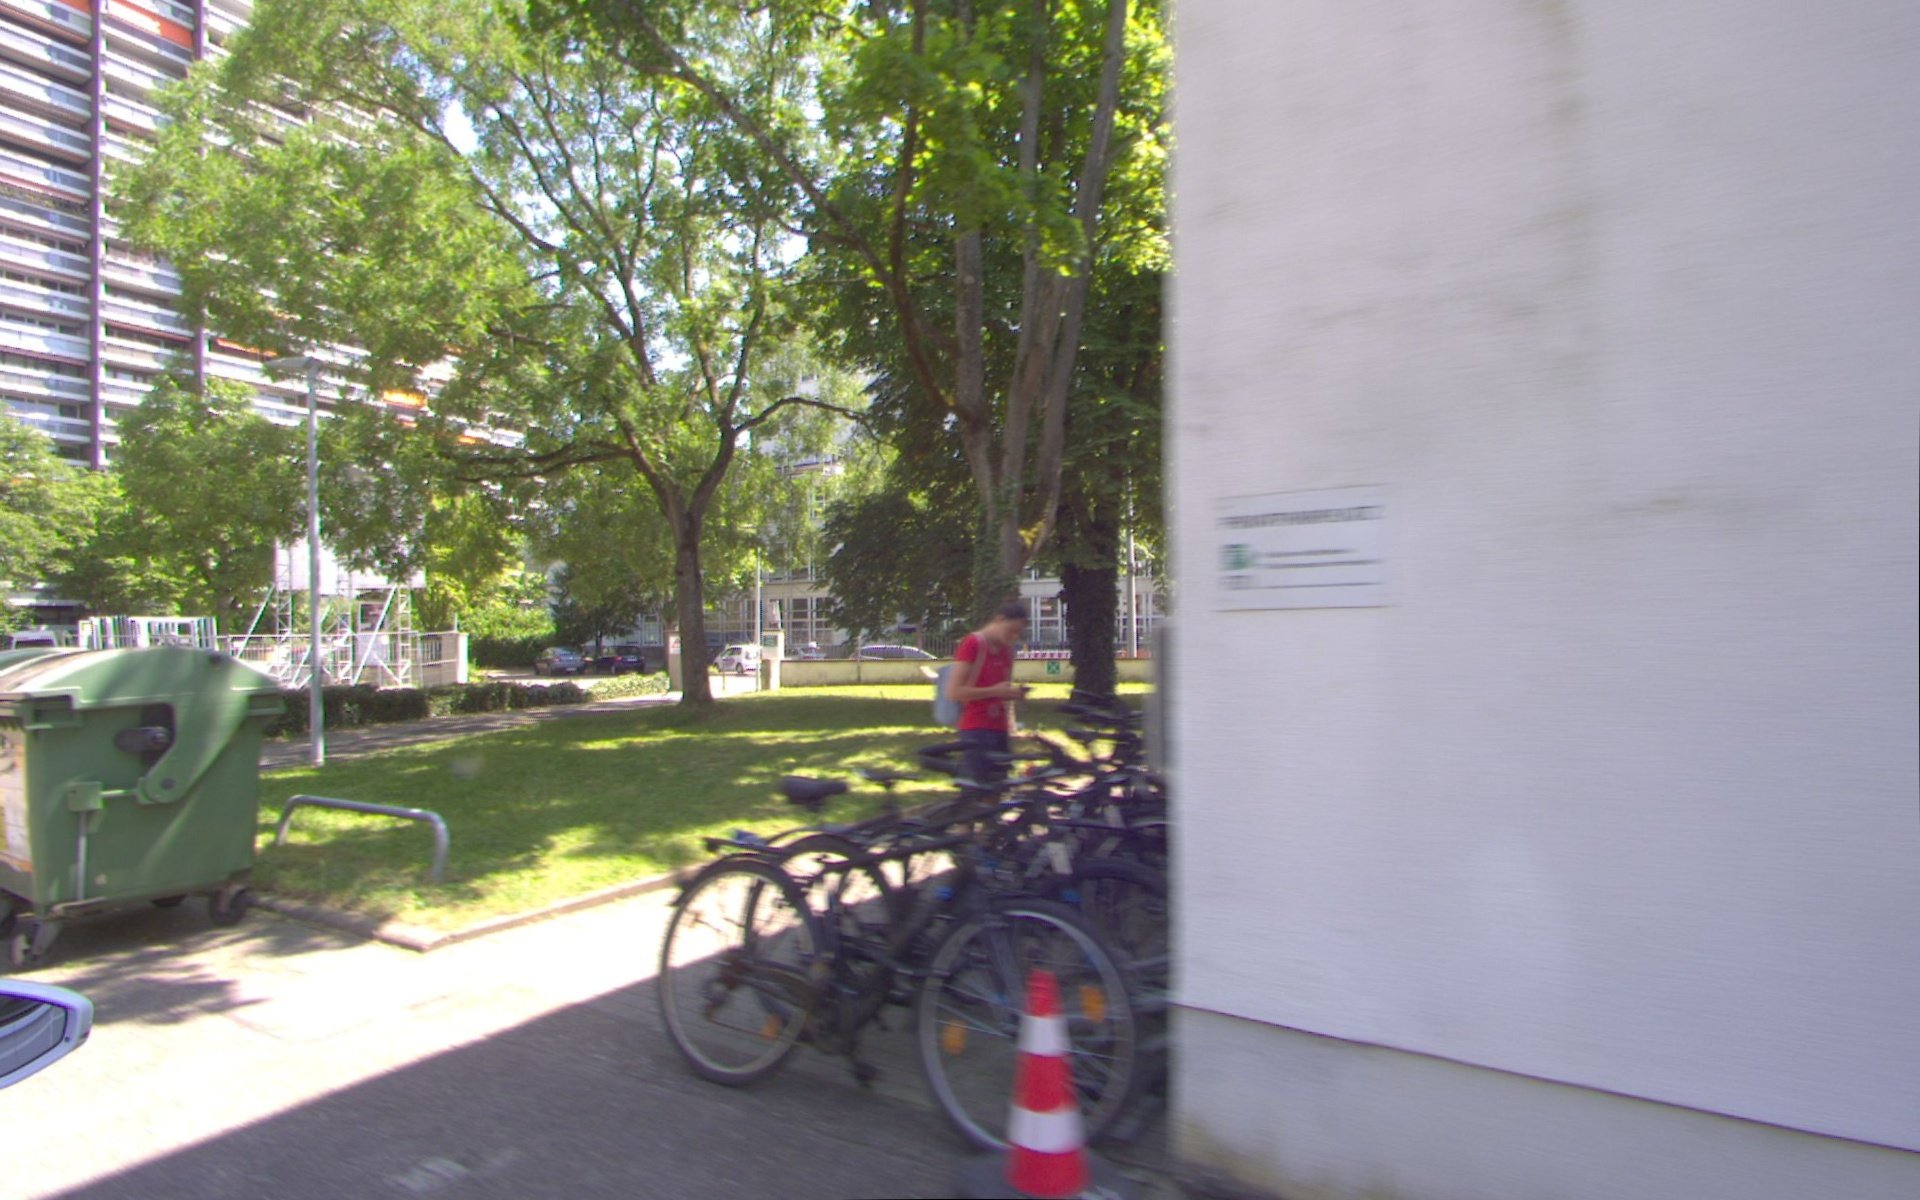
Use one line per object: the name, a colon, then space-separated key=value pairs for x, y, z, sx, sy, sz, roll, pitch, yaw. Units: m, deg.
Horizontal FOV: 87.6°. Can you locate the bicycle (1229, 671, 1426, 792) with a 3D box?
bicycle: x=3.665 y=1.284 z=10.075 sx=1.801 sy=1.115 sz=0.404 roll=-2 pitch=-2 yaw=33

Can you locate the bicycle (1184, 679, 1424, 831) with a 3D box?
bicycle: x=2.782 y=1.221 z=8.215 sx=1.801 sy=1.115 sz=0.404 roll=-2 pitch=-2 yaw=33

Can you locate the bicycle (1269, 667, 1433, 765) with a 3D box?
bicycle: x=4.721 y=1.378 z=12.165 sx=1.801 sy=1.115 sz=0.404 roll=-2 pitch=-2 yaw=33

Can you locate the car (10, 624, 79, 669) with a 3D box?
car: x=-49.365 y=2.519 z=54.073 sx=2.164 sy=2.286 sz=4.837 roll=0 pitch=-3 yaw=-36

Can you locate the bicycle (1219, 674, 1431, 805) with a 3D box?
bicycle: x=3.376 y=1.259 z=9.356 sx=1.801 sy=1.115 sz=0.404 roll=-2 pitch=-2 yaw=33

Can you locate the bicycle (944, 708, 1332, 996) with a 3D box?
bicycle: x=0.788 y=1.110 z=4.795 sx=1.801 sy=1.115 sz=0.404 roll=-2 pitch=-2 yaw=33

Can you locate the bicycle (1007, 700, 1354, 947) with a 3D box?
bicycle: x=1.142 y=1.131 z=5.446 sx=1.801 sy=1.115 sz=0.404 roll=-2 pitch=-2 yaw=33

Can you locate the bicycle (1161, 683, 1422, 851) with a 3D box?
bicycle: x=2.446 y=1.197 z=7.512 sx=1.801 sy=1.115 sz=0.404 roll=-2 pitch=-2 yaw=33

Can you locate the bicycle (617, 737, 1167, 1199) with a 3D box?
bicycle: x=-0.300 y=1.033 z=3.083 sx=1.801 sy=1.115 sz=0.404 roll=-2 pitch=-2 yaw=33

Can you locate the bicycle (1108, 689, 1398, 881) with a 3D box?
bicycle: x=1.910 y=1.171 z=6.689 sx=1.801 sy=1.115 sz=0.404 roll=-2 pitch=-2 yaw=33

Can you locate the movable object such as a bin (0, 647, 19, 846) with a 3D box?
movable object such as a bin: x=-7.966 y=1.107 z=7.493 sx=1.358 sy=1.476 sz=1.073 roll=-2 pitch=-2 yaw=34

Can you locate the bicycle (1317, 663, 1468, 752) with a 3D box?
bicycle: x=5.792 y=1.415 z=13.462 sx=1.801 sy=1.115 sz=0.404 roll=-2 pitch=-2 yaw=33

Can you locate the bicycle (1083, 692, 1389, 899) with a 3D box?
bicycle: x=1.687 y=1.158 z=6.298 sx=1.801 sy=1.115 sz=0.404 roll=-2 pitch=-2 yaw=33

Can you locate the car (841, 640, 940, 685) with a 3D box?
car: x=-2.399 y=2.182 z=35.080 sx=3.267 sy=1.498 sz=1.434 roll=-1 pitch=-2 yaw=4

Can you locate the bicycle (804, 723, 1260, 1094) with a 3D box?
bicycle: x=0.207 y=1.083 z=3.926 sx=1.801 sy=1.115 sz=0.404 roll=-2 pitch=-2 yaw=33

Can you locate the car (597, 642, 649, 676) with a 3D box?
car: x=-17.632 y=3.058 z=52.301 sx=1.987 sy=1.650 sz=3.915 roll=0 pitch=-2 yaw=-27

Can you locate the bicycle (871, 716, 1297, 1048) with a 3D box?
bicycle: x=0.459 y=1.094 z=4.283 sx=1.801 sy=1.115 sz=0.404 roll=-2 pitch=-2 yaw=33

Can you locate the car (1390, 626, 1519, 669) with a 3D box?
car: x=16.487 y=1.592 z=33.503 sx=3.461 sy=1.359 sz=1.654 roll=-1 pitch=-2 yaw=6

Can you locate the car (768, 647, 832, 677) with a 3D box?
car: x=-8.252 y=3.156 z=51.441 sx=1.650 sy=1.433 sz=3.684 roll=1 pitch=-3 yaw=-38

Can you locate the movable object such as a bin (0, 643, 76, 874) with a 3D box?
movable object such as a bin: x=-6.821 y=1.041 z=6.683 sx=1.358 sy=1.476 sz=1.073 roll=-2 pitch=-2 yaw=34

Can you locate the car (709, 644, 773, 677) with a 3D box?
car: x=-11.405 y=3.139 z=51.960 sx=1.652 sy=1.609 sz=3.660 roll=1 pitch=-3 yaw=-42

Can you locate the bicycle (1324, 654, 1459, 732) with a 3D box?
bicycle: x=6.592 y=1.438 z=15.356 sx=1.802 sy=1.115 sz=0.404 roll=-5 pitch=-4 yaw=33

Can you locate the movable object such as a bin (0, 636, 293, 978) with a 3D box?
movable object such as a bin: x=-4.364 y=0.940 z=5.193 sx=1.358 sy=1.476 sz=1.073 roll=-2 pitch=-2 yaw=34

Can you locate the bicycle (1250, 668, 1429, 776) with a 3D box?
bicycle: x=4.188 y=1.320 z=11.140 sx=1.801 sy=1.115 sz=0.404 roll=-2 pitch=-2 yaw=33

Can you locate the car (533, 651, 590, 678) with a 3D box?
car: x=-20.766 y=3.327 z=52.123 sx=1.897 sy=1.327 sz=3.905 roll=1 pitch=-3 yaw=-36

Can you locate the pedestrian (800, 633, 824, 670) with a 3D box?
pedestrian: x=-8.268 y=2.882 z=55.915 sx=0.987 sy=2.039 sz=0.868 roll=1 pitch=-2 yaw=-45

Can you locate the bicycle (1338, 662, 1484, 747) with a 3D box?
bicycle: x=6.245 y=1.427 z=13.923 sx=1.801 sy=1.115 sz=0.404 roll=-2 pitch=-2 yaw=33

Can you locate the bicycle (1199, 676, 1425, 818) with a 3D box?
bicycle: x=3.034 y=1.238 z=8.732 sx=1.801 sy=1.115 sz=0.404 roll=-2 pitch=-2 yaw=33

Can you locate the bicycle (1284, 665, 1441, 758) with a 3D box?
bicycle: x=5.120 y=1.399 z=12.812 sx=1.801 sy=1.115 sz=0.404 roll=-2 pitch=-2 yaw=33

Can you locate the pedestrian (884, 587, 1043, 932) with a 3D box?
pedestrian: x=0.019 y=0.838 z=5.582 sx=0.680 sy=1.771 sz=0.549 roll=-2 pitch=-2 yaw=34

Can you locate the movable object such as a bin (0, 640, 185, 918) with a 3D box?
movable object such as a bin: x=-5.546 y=0.992 z=5.985 sx=1.358 sy=1.476 sz=1.073 roll=-2 pitch=-2 yaw=34

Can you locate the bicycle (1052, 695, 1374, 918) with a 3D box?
bicycle: x=1.445 y=1.147 z=5.930 sx=1.801 sy=1.115 sz=0.404 roll=-2 pitch=-2 yaw=33

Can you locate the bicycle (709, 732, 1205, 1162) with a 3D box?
bicycle: x=-0.094 y=1.070 z=3.507 sx=1.801 sy=1.115 sz=0.404 roll=-2 pitch=-2 yaw=33

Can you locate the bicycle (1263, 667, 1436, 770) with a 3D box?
bicycle: x=4.472 y=1.334 z=11.576 sx=1.801 sy=1.115 sz=0.404 roll=-2 pitch=-2 yaw=33

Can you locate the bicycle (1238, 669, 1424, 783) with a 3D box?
bicycle: x=3.924 y=1.305 z=10.673 sx=1.801 sy=1.115 sz=0.404 roll=-2 pitch=-2 yaw=33
